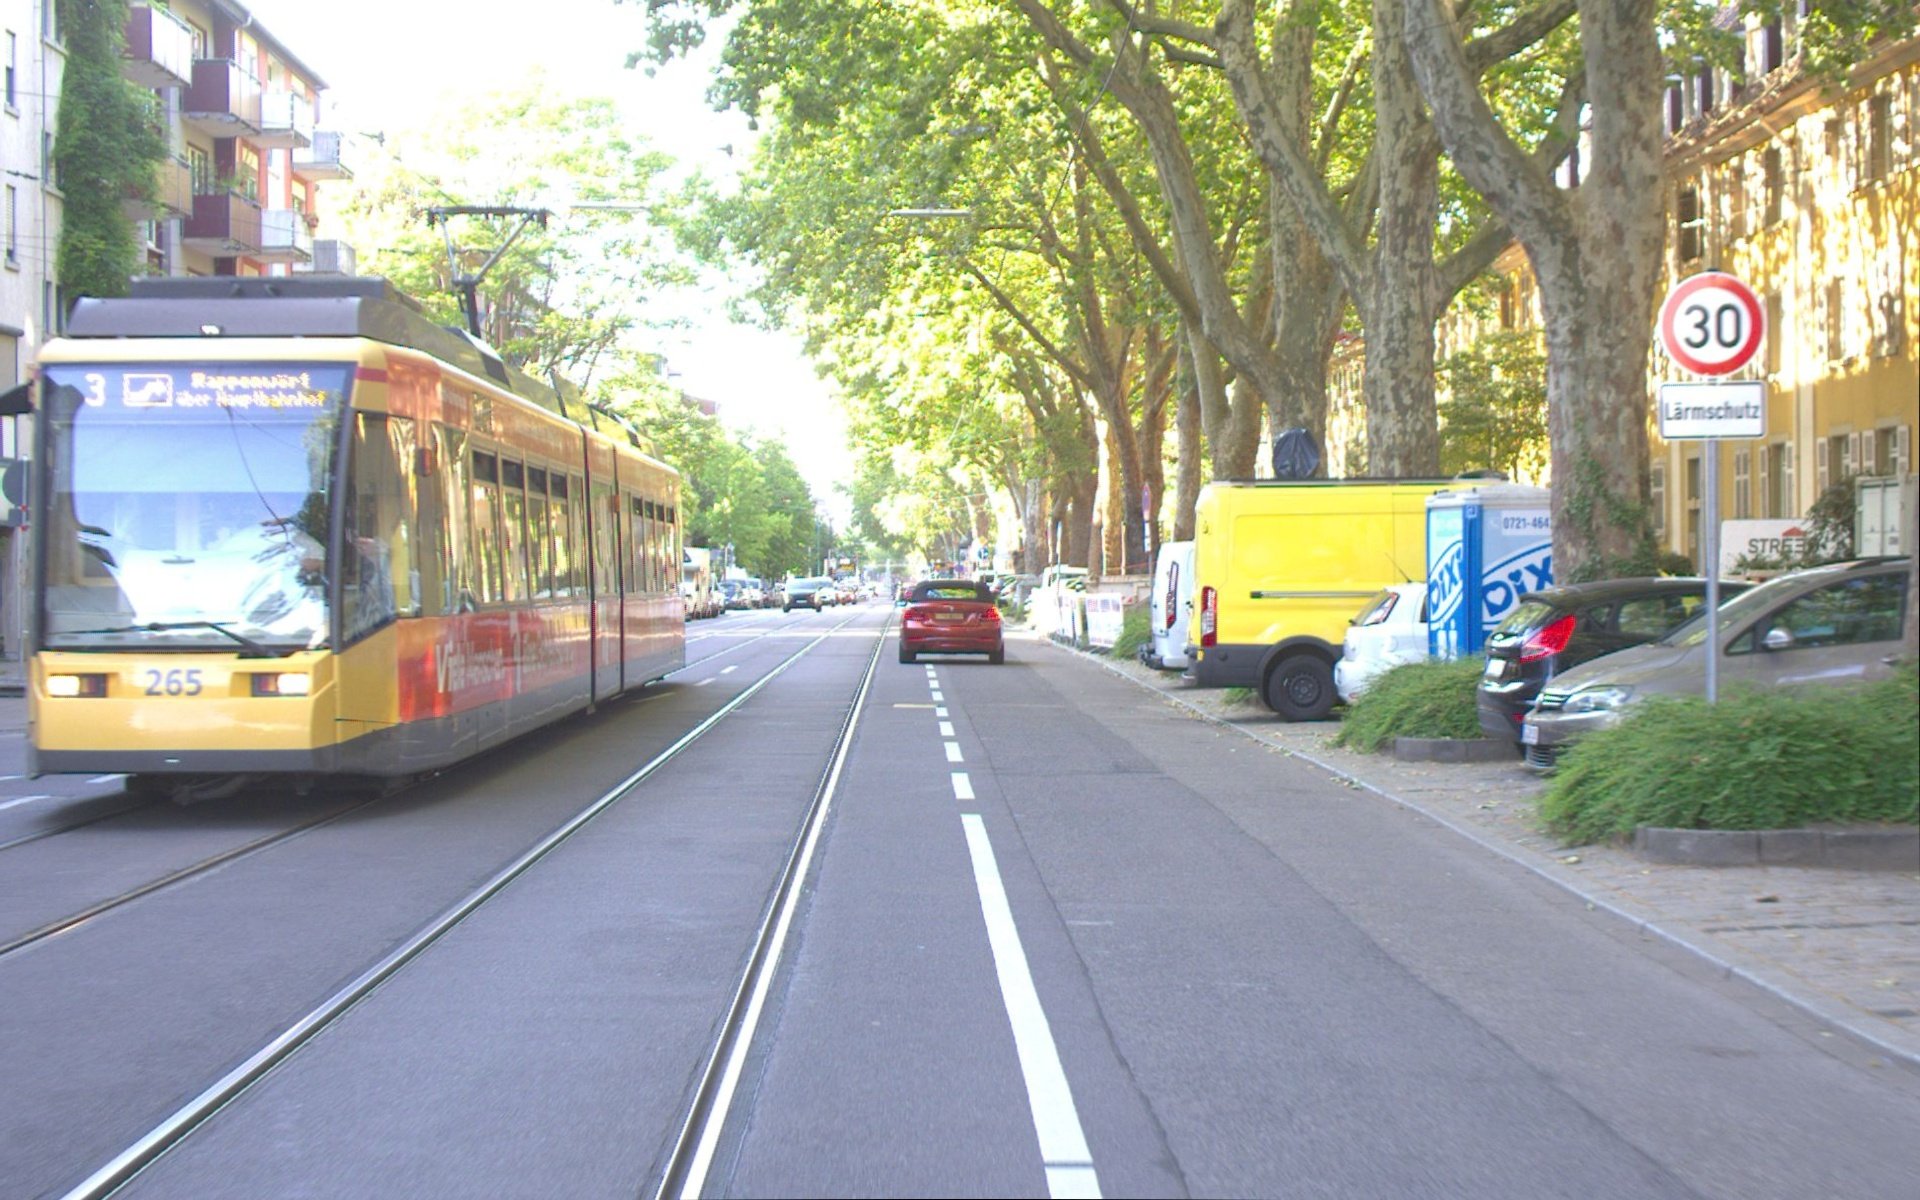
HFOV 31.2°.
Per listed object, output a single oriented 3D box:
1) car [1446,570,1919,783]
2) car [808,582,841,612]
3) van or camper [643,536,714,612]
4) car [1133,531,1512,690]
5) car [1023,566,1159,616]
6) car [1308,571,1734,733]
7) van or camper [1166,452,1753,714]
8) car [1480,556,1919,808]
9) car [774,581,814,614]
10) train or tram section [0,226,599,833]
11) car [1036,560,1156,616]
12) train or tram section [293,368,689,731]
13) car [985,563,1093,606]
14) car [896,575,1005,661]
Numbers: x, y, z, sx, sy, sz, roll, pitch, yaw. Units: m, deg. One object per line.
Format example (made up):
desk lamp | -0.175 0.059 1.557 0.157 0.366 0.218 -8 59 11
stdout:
car | 5.647 0.543 25.775 3.652 1.422 1.738 -2 1 -4
car | -8.320 -0.183 211.657 1.891 1.826 4.895 -1 0 -1
van or camper | -11.849 -1.081 144.921 2.337 3.031 6.397 3 0 0
car | 4.821 0.123 46.291 4.834 2.006 2.064 -1 1 -1
car | 4.075 -0.276 107.477 4.087 1.516 1.917 -1 0 -2
car | 5.471 0.491 33.890 3.906 1.484 1.863 -1 1 1
van or camper | 5.229 -0.167 36.706 5.926 2.620 2.270 -1 -1 2
car | 5.702 0.499 23.091 4.076 1.544 1.830 -2 0 -1
car | -8.219 -0.114 170.556 1.853 1.595 4.464 2 0 -2
train or tram section | -4.841 -0.464 26.476 2.908 3.474 13.370 -1 1 -1
car | 4.427 -0.403 111.761 3.844 1.766 1.916 -1 0 3
train or tram section | -5.083 -0.554 40.298 2.908 3.474 14.199 -1 1 -1
car | 3.372 -0.659 146.517 4.497 1.596 2.027 -2 0 3
car | -0.167 0.286 58.684 1.792 1.384 4.236 1 1 0
